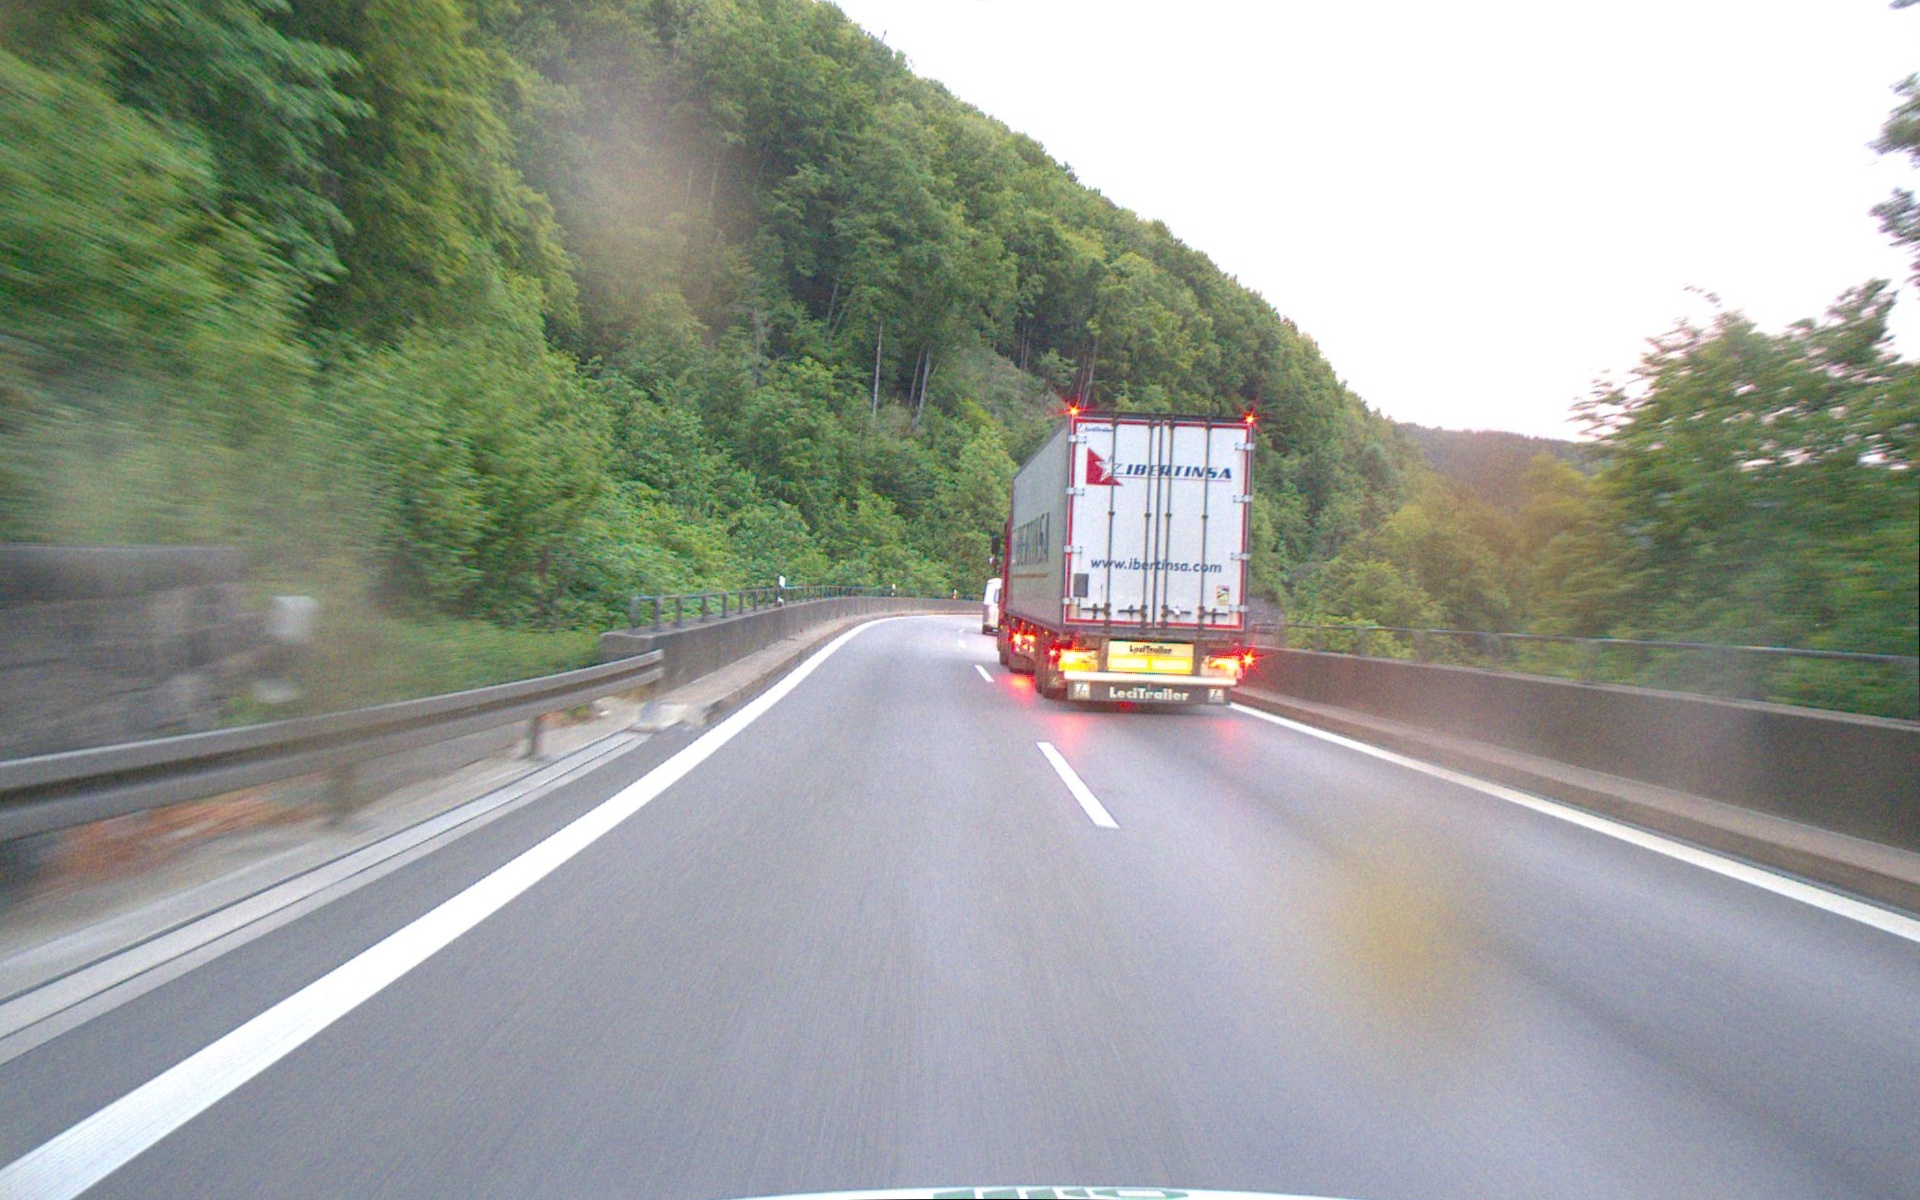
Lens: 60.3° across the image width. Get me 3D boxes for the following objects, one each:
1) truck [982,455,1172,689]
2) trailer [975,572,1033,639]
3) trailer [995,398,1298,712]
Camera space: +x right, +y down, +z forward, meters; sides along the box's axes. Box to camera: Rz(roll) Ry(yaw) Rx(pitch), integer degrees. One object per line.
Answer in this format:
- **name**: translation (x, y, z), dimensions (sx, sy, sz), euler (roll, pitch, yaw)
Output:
- **truck**: translation (2.315, -0.545, 35.326), dimensions (3.009, 4.215, 6.444), euler (6, 0, -2)
- **trailer**: translation (1.856, 0.167, 68.187), dimensions (2.013, 2.414, 5.940), euler (7, 1, 3)
- **trailer**: translation (2.600, -0.624, 28.806), dimensions (3.035, 4.039, 14.211), euler (1, 0, -2)
